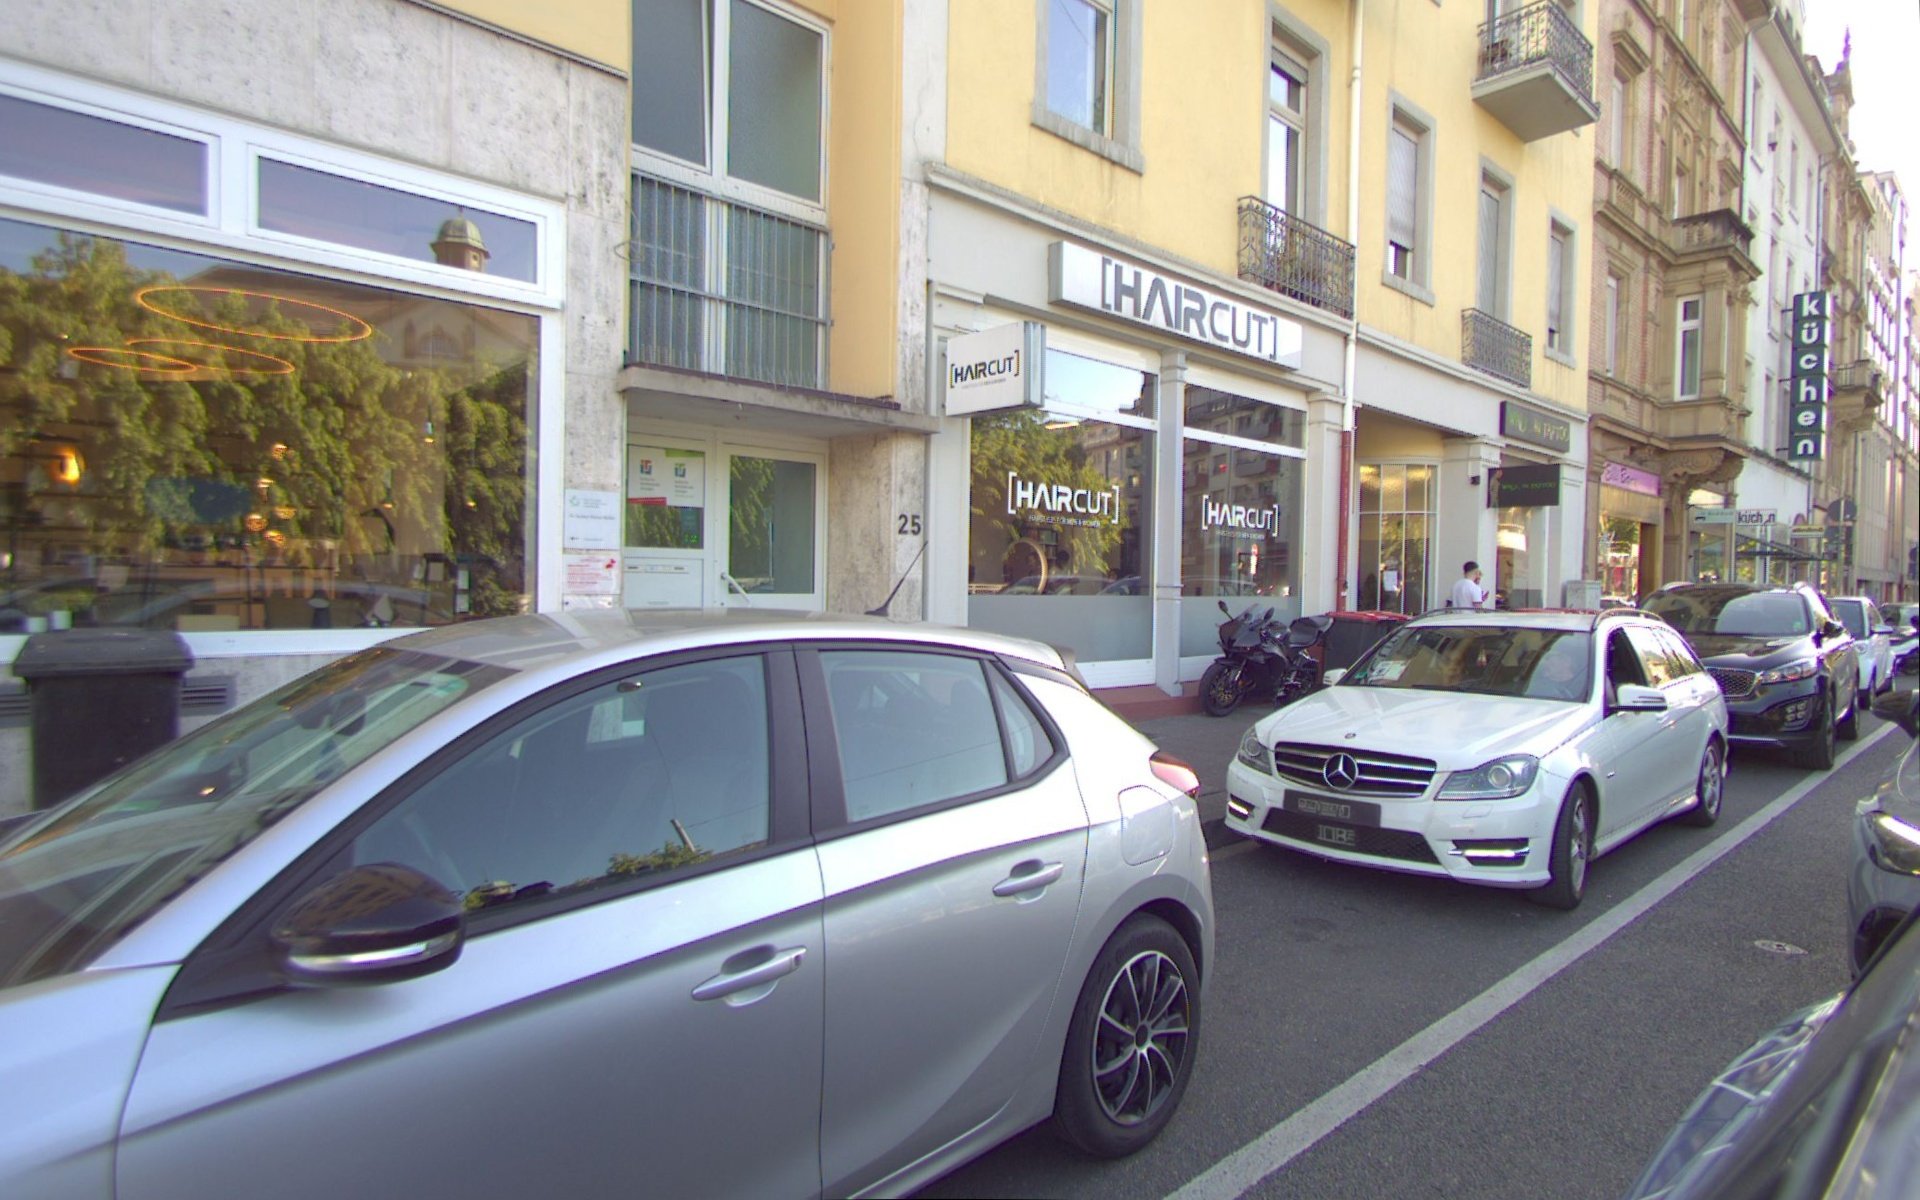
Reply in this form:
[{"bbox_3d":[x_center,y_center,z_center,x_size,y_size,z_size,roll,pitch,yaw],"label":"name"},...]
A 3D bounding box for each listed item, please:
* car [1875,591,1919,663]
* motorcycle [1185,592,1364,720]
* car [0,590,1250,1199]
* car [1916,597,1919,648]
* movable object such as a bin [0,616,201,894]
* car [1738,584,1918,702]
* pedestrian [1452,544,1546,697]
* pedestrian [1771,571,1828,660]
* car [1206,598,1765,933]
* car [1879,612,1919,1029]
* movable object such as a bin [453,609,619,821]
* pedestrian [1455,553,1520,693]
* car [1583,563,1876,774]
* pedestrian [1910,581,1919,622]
[{"bbox_3d":[21.898,0.563,22.811,3.736,1.509,1.691,-1,0,-45],"label":"car"},{"bbox_3d":[3.301,0.521,10.507,2.073,1.144,0.735,-1,5,-41],"label":"motorcycle"},{"bbox_3d":[-1.007,0.714,2.311,3.625,1.455,1.585,-1,0,-43],"label":"car"},{"bbox_3d":[26.610,0.571,26.929,3.306,1.334,1.459,-1,0,-42],"label":"car"},{"bbox_3d":[-3.675,0.598,4.327,0.639,1.036,0.737,0,0,-41],"label":"movable object such as a bin"},{"bbox_3d":[12.771,0.545,14.855,2.945,1.542,1.582,-1,0,-41],"label":"car"},{"bbox_3d":[6.861,0.251,12.924,0.961,1.900,0.532,0,0,18],"label":"pedestrian"},{"bbox_3d":[16.932,0.297,20.407,0.824,1.741,0.817,0,0,-45],"label":"pedestrian"},{"bbox_3d":[3.532,0.707,6.391,4.301,1.389,1.671,-1,0,-41],"label":"car"},{"bbox_3d":[5.397,0.748,4.379,4.397,1.385,1.767,-1,1,-43],"label":"car"},{"bbox_3d":[-2.328,0.579,5.541,0.639,1.036,0.737,0,0,-41],"label":"movable object such as a bin"},{"bbox_3d":[7.239,0.299,13.877,0.627,1.859,0.760,0,0,41],"label":"pedestrian"},{"bbox_3d":[8.009,0.529,10.369,4.338,1.711,1.802,-1,0,-45],"label":"car"},{"bbox_3d":[42.210,0.055,44.314,0.809,1.782,0.825,0,0,-42],"label":"pedestrian"}]
